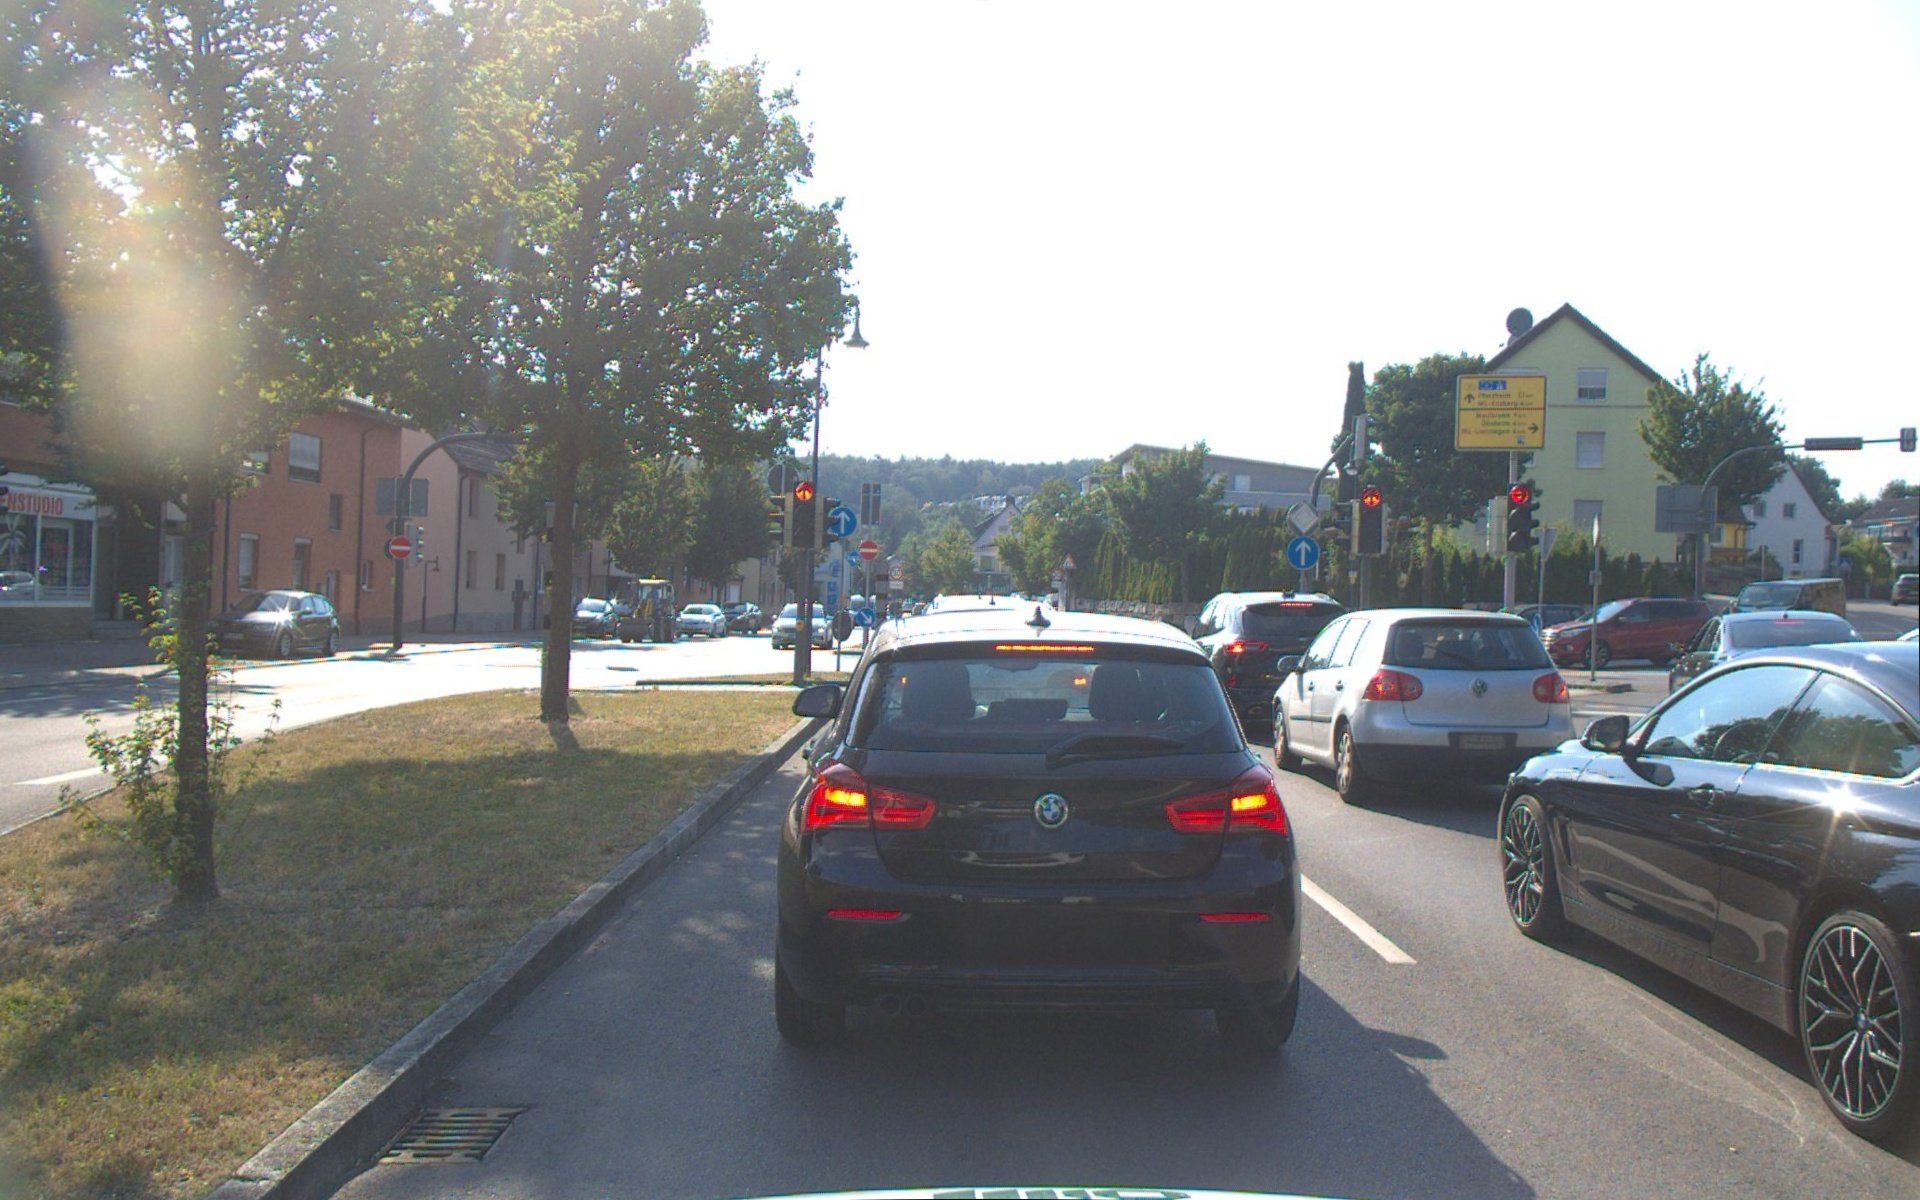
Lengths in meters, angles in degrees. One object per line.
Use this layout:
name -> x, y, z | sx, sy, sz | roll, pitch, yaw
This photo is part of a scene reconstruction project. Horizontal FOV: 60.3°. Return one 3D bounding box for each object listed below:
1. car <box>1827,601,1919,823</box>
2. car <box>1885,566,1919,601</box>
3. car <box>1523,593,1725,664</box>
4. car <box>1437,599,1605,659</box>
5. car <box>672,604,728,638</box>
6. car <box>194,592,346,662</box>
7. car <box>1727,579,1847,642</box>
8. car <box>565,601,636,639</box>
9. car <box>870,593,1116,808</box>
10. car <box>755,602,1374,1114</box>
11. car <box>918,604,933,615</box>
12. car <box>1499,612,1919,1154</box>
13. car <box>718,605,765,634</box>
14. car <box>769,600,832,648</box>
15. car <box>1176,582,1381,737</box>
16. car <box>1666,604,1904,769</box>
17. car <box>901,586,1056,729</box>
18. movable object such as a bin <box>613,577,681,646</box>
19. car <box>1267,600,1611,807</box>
car -> 7.620, 0.799, 11.640 | 1.583, 1.569, 3.320 | -1, 0, 6
car -> 48.169, -0.830, 83.812 | 1.926, 1.709, 4.212 | 0, 0, 25
car -> 16.515, 0.694, 41.233 | 4.333, 1.670, 1.845 | 1, 0, -8
car -> 15.167, 0.764, 44.847 | 3.907, 1.515, 1.847 | 1, 0, -3
car -> -11.775, 0.938, 74.994 | 1.701, 1.323, 3.800 | 5, 0, 2
car -> -15.474, 0.569, 37.305 | 1.702, 1.323, 3.999 | 5, 0, -1
car -> 24.345, 0.310, 48.615 | 1.817, 1.770, 4.751 | 1, 0, 44
car -> -14.500, 0.800, 66.919 | 1.701, 1.323, 4.001 | 5, 0, 3
car -> 0.236, 0.714, 13.997 | 1.751, 1.520, 4.280 | -1, 0, 0
car -> 0.295, 0.735, 6.852 | 1.751, 1.422, 4.280 | -1, 0, 0
car -> -4.489, 1.205, 217.165 | 1.701, 1.323, 3.800 | 5, 0, 2
car -> 3.470, 0.785, 5.832 | 1.725, 1.422, 4.280 | -1, 0, 0
car -> -11.358, 1.001, 86.030 | 1.701, 1.323, 3.800 | 5, 0, 2
car -> -5.307, 0.785, 55.370 | 1.802, 1.508, 3.999 | 1, 0, -1
car -> 3.744, 0.648, 20.070 | 1.725, 1.685, 3.902 | -1, 0, 0
car -> 9.044, 0.853, 18.473 | 1.621, 1.569, 4.401 | -1, 0, 17
car -> 0.206, 0.647, 21.037 | 1.751, 1.622, 4.280 | -1, 0, 0
movable object such as a bin -> -11.801, 0.424, 62.549 | 1.701, 2.485, 4.449 | 0, 0, 0
car -> 3.791, 0.740, 13.788 | 1.725, 1.451, 3.902 | -1, 0, 0
